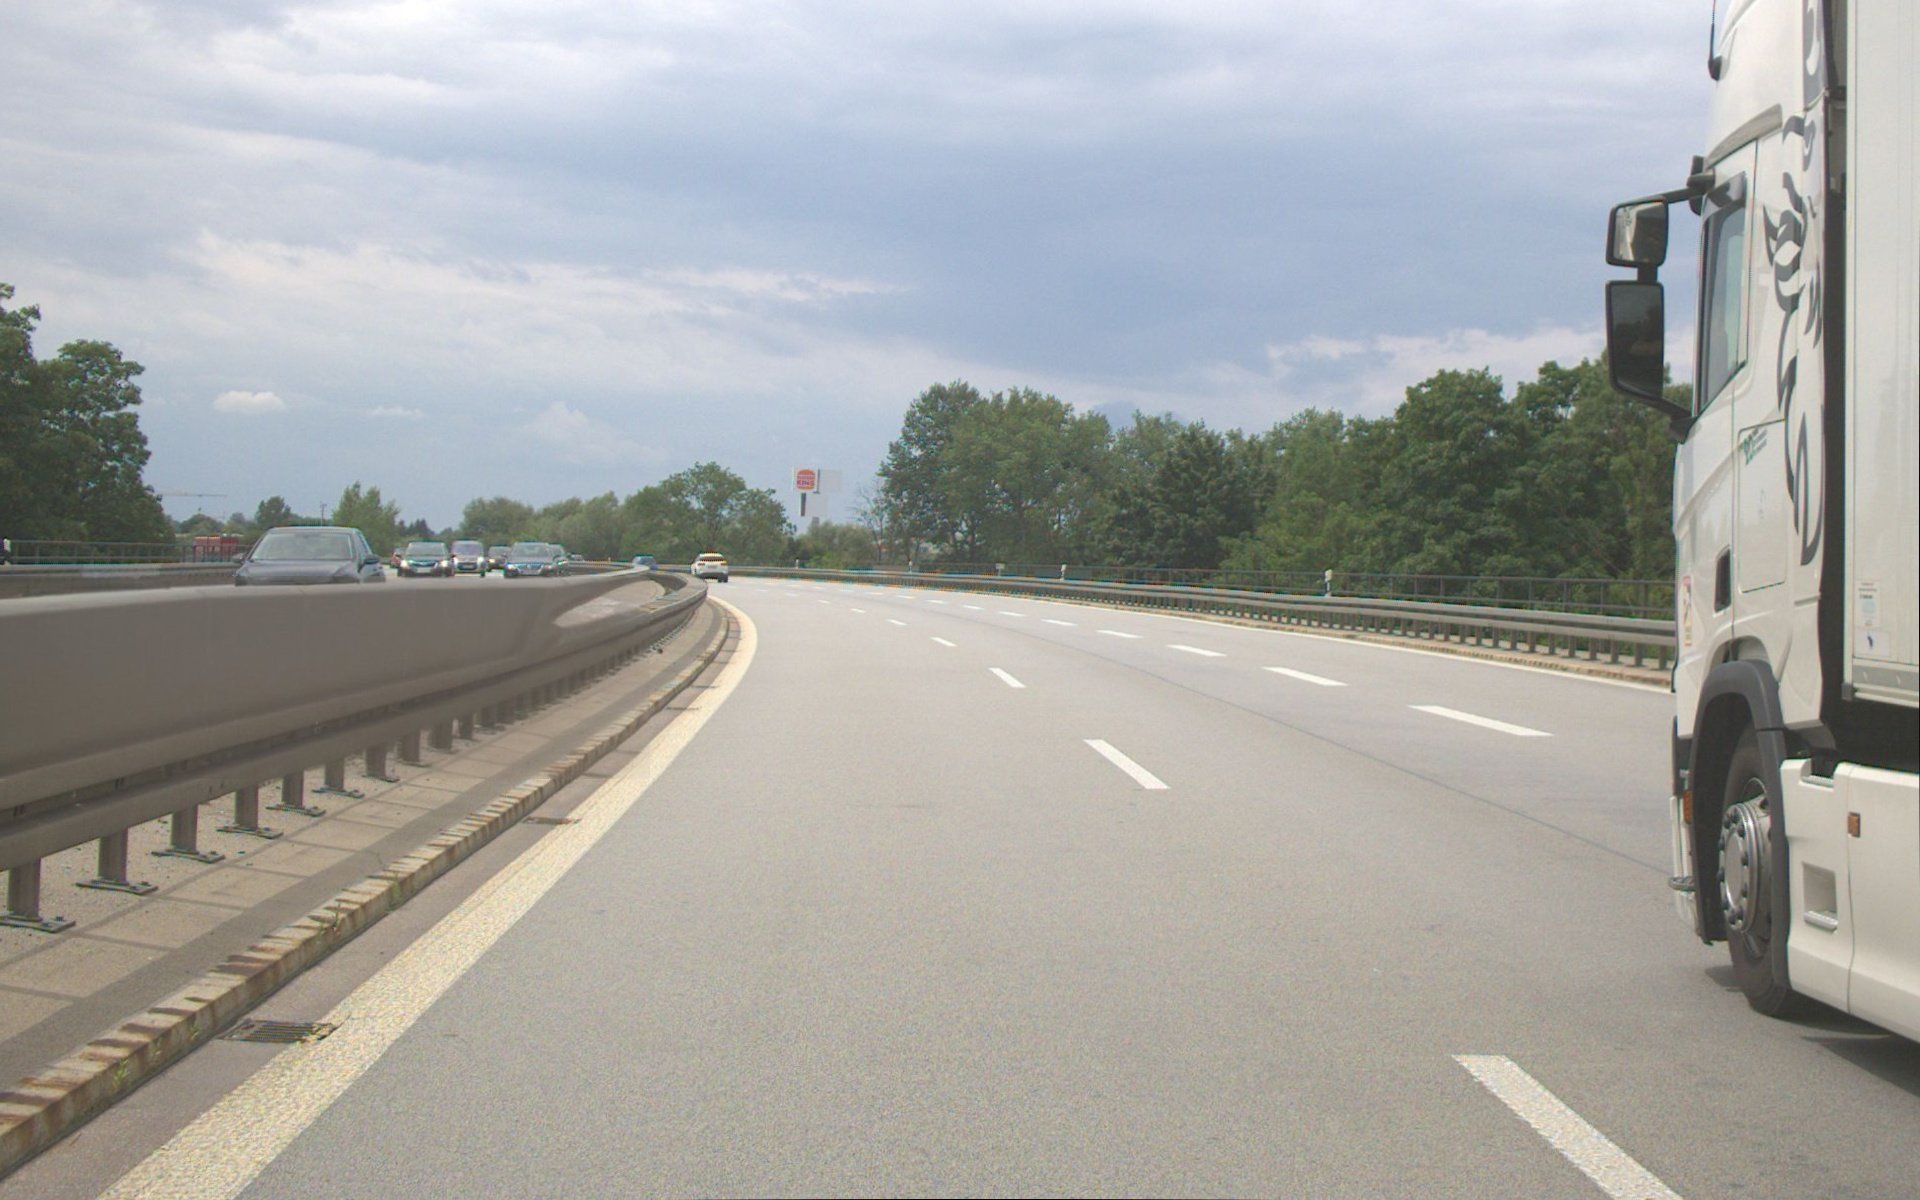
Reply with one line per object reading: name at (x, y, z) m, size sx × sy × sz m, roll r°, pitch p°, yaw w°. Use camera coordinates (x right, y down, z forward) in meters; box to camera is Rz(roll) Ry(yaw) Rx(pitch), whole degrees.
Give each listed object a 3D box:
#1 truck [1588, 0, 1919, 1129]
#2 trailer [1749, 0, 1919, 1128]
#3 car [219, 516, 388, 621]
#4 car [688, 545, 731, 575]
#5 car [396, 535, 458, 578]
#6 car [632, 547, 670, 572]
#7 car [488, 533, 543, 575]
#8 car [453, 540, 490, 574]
truck at (4.003, -0.586, 10.183) m, size 3.062 × 3.878 × 6.000 m, roll 1°, pitch 1°, yaw -1°
trailer at (4.047, -0.482, 3.621) m, size 3.062 × 3.877 × 13.791 m, roll 1°, pitch 1°, yaw -1°
car at (-8.961, -0.444, 47.232) m, size 1.685 × 1.371 × 4.359 m, roll 0°, pitch 1°, yaw -3°
car at (-14.426, -2.273, 197.726) m, size 1.902 × 1.634 × 4.397 m, roll 2°, pitch 0°, yaw -11°
car at (-18.289, -1.510, 118.193) m, size 1.737 × 1.405 × 4.943 m, roll 1°, pitch 1°, yaw -5°
car at (-21.546, -2.842, 239.598) m, size 1.892 × 1.634 × 4.623 m, roll 1°, pitch 1°, yaw -14°
car at (-15.073, -1.587, 116.707) m, size 1.651 × 1.362 × 4.149 m, roll 1°, pitch 1°, yaw -5°
car at (-24.280, -2.154, 170.915) m, size 1.650 × 1.536 × 4.001 m, roll 5°, pitch 1°, yaw -8°
